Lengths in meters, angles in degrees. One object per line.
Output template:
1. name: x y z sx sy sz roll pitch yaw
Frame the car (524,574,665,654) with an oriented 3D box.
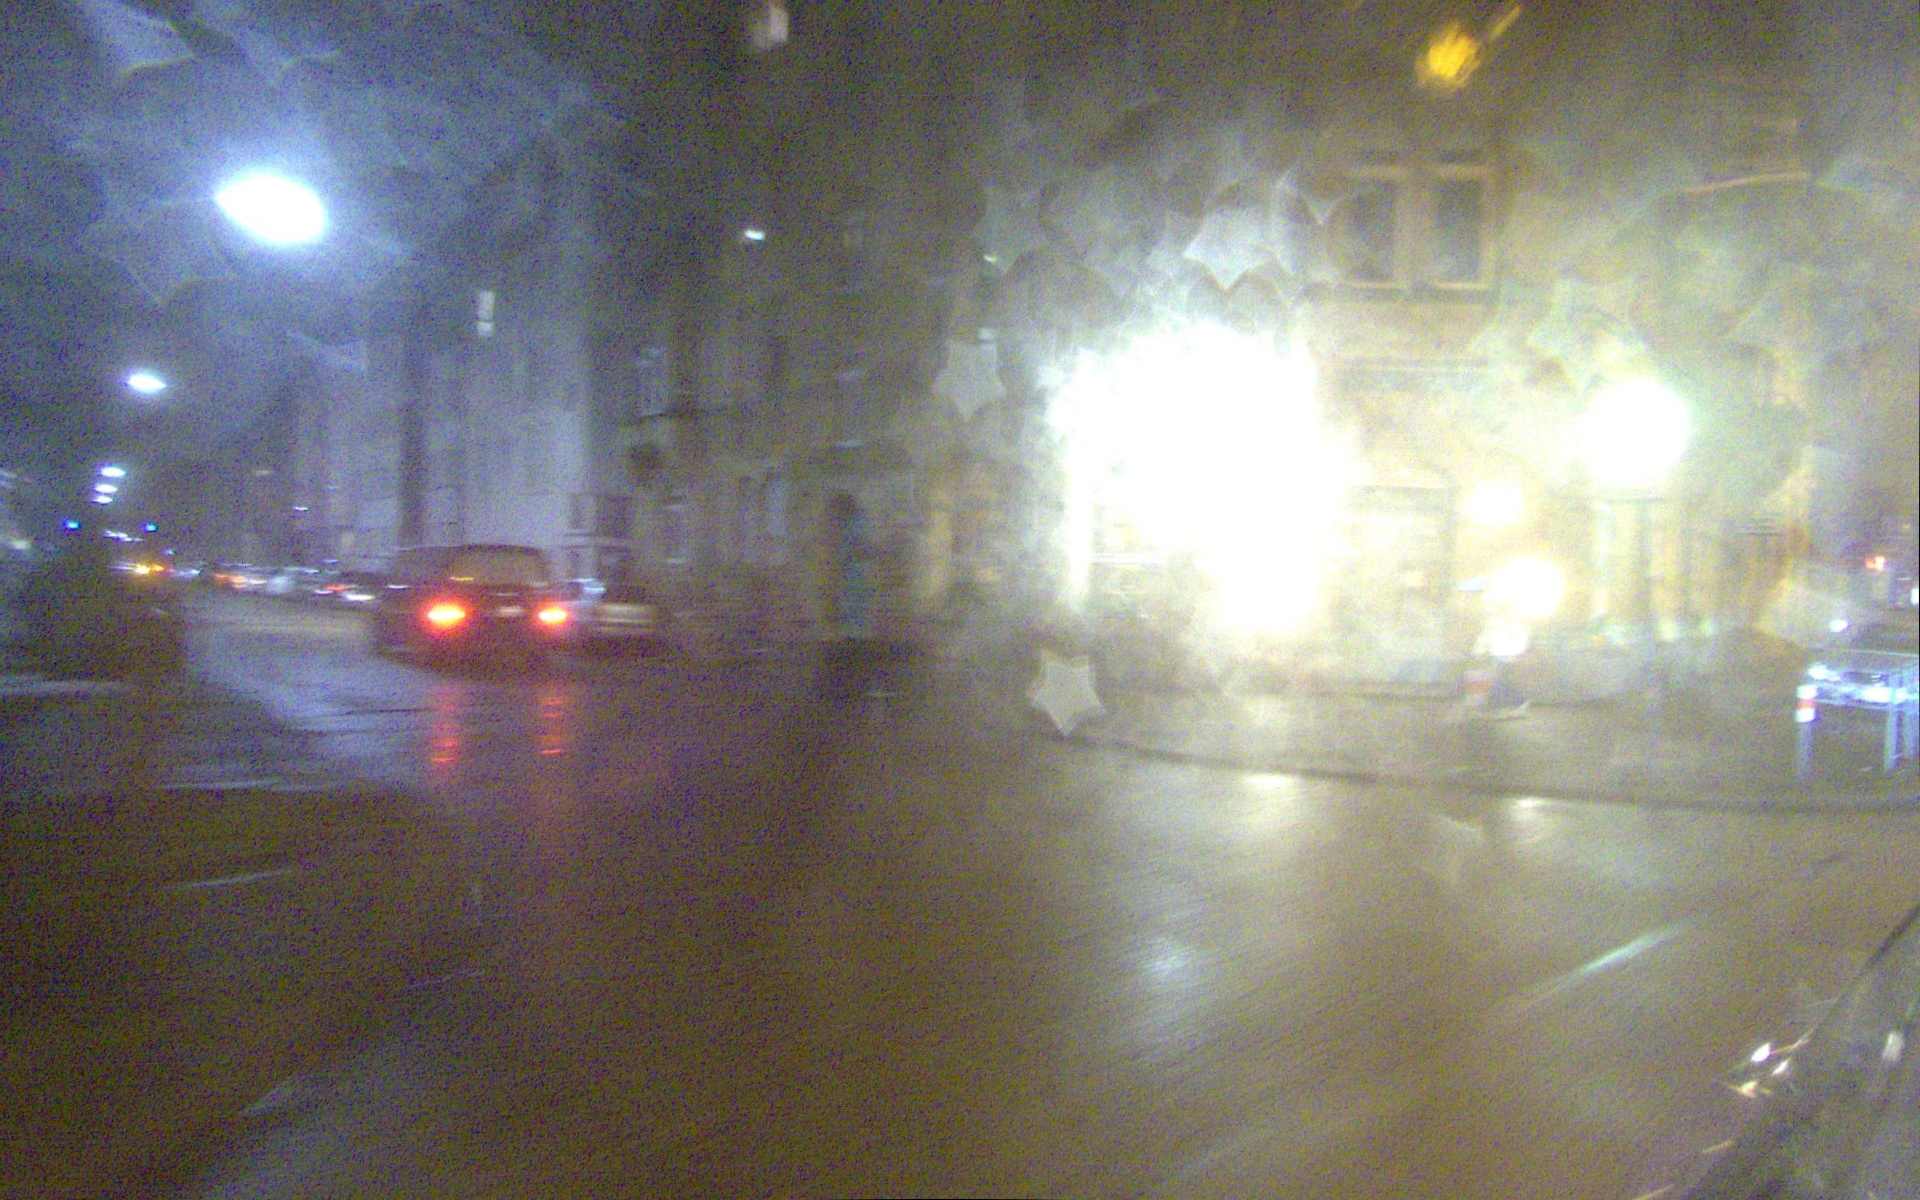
1. car: -7.600 0.226 20.886 1.582 1.476 3.410 0 1 -41

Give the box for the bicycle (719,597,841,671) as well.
1. bicycle: -2.901 0.522 16.425 1.949 1.130 0.507 -1 0 -39

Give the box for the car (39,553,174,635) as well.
1. car: -20.447 -0.193 24.170 4.679 1.765 1.971 2 1 43

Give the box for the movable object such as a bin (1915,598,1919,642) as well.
1. movable object such as a bin: 32.129 0.694 32.740 1.320 1.447 1.197 1 1 11

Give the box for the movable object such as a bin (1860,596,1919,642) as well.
1. movable object such as a bin: 30.691 0.621 33.328 1.030 1.447 1.314 0 1 -34

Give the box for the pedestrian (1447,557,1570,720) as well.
1. pedestrian: 6.537 0.434 12.060 1.063 1.810 0.864 2 2 -40

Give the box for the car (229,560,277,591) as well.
1. car: -35.286 -1.210 50.461 1.582 1.476 3.410 0 1 -41

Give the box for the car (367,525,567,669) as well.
1. car: -8.381 -0.104 16.968 1.967 2.074 4.689 0 1 -40

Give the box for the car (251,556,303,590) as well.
1. car: -31.733 -1.259 46.990 1.582 1.476 3.410 0 1 -41

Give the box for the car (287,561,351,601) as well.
1. car: -25.150 -0.754 39.670 1.582 1.476 3.410 0 1 -41

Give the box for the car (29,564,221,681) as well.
1. car: -12.818 0.235 15.437 4.407 1.521 1.743 2 1 44

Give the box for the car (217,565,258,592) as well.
1. car: -41.751 -1.265 58.490 1.582 1.476 3.410 0 1 -41

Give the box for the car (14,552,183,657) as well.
1. car: -16.497 0.014 19.300 4.679 1.765 1.971 2 1 43

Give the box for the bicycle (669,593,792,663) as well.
1. bicycle: -3.926 0.456 17.368 1.949 1.130 0.702 -1 0 -39

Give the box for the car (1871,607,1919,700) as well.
1. car: 17.782 0.933 18.295 3.827 1.517 1.691 0 2 -44

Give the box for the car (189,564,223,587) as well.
1. car: -51.150 -1.690 68.606 1.582 1.476 3.410 0 1 -41

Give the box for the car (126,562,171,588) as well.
1. car: -56.377 -1.746 70.248 1.970 1.765 4.682 0 1 -45

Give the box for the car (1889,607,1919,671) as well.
1. car: 25.056 0.969 25.611 4.343 1.482 1.996 0 2 -44

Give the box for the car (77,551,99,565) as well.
1. car: -116.680 -5.566 135.414 1.970 1.765 4.682 0 1 -45

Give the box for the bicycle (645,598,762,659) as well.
1. bicycle: -4.625 0.492 18.322 1.949 1.023 0.702 -1 0 -39

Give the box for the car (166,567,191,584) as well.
1. car: -69.508 -2.201 89.992 1.582 1.476 3.410 0 1 -41

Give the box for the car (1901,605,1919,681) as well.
1. car: 21.365 0.913 21.688 1.689 1.517 3.831 2 2 43

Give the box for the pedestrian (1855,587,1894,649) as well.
1. pedestrian: 27.708 0.546 30.672 0.613 1.810 0.704 2 2 -40

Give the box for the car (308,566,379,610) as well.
1. car: -21.896 -0.454 35.887 1.582 1.476 3.410 0 1 -41

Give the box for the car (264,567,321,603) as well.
1. car: -28.759 -0.660 43.555 1.582 1.476 3.410 0 1 -41

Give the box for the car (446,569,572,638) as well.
1. car: -10.727 0.030 23.938 1.582 1.476 3.974 0 1 -41

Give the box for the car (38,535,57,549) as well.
1. car: -124.064 -7.858 137.601 1.968 1.765 4.685 0 1 -42

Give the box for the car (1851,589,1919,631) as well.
1. car: 40.199 0.495 42.069 1.750 1.549 4.520 0 5 -43

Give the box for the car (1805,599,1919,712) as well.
1. car: 13.856 0.742 14.786 3.934 1.429 1.919 0 2 -44
